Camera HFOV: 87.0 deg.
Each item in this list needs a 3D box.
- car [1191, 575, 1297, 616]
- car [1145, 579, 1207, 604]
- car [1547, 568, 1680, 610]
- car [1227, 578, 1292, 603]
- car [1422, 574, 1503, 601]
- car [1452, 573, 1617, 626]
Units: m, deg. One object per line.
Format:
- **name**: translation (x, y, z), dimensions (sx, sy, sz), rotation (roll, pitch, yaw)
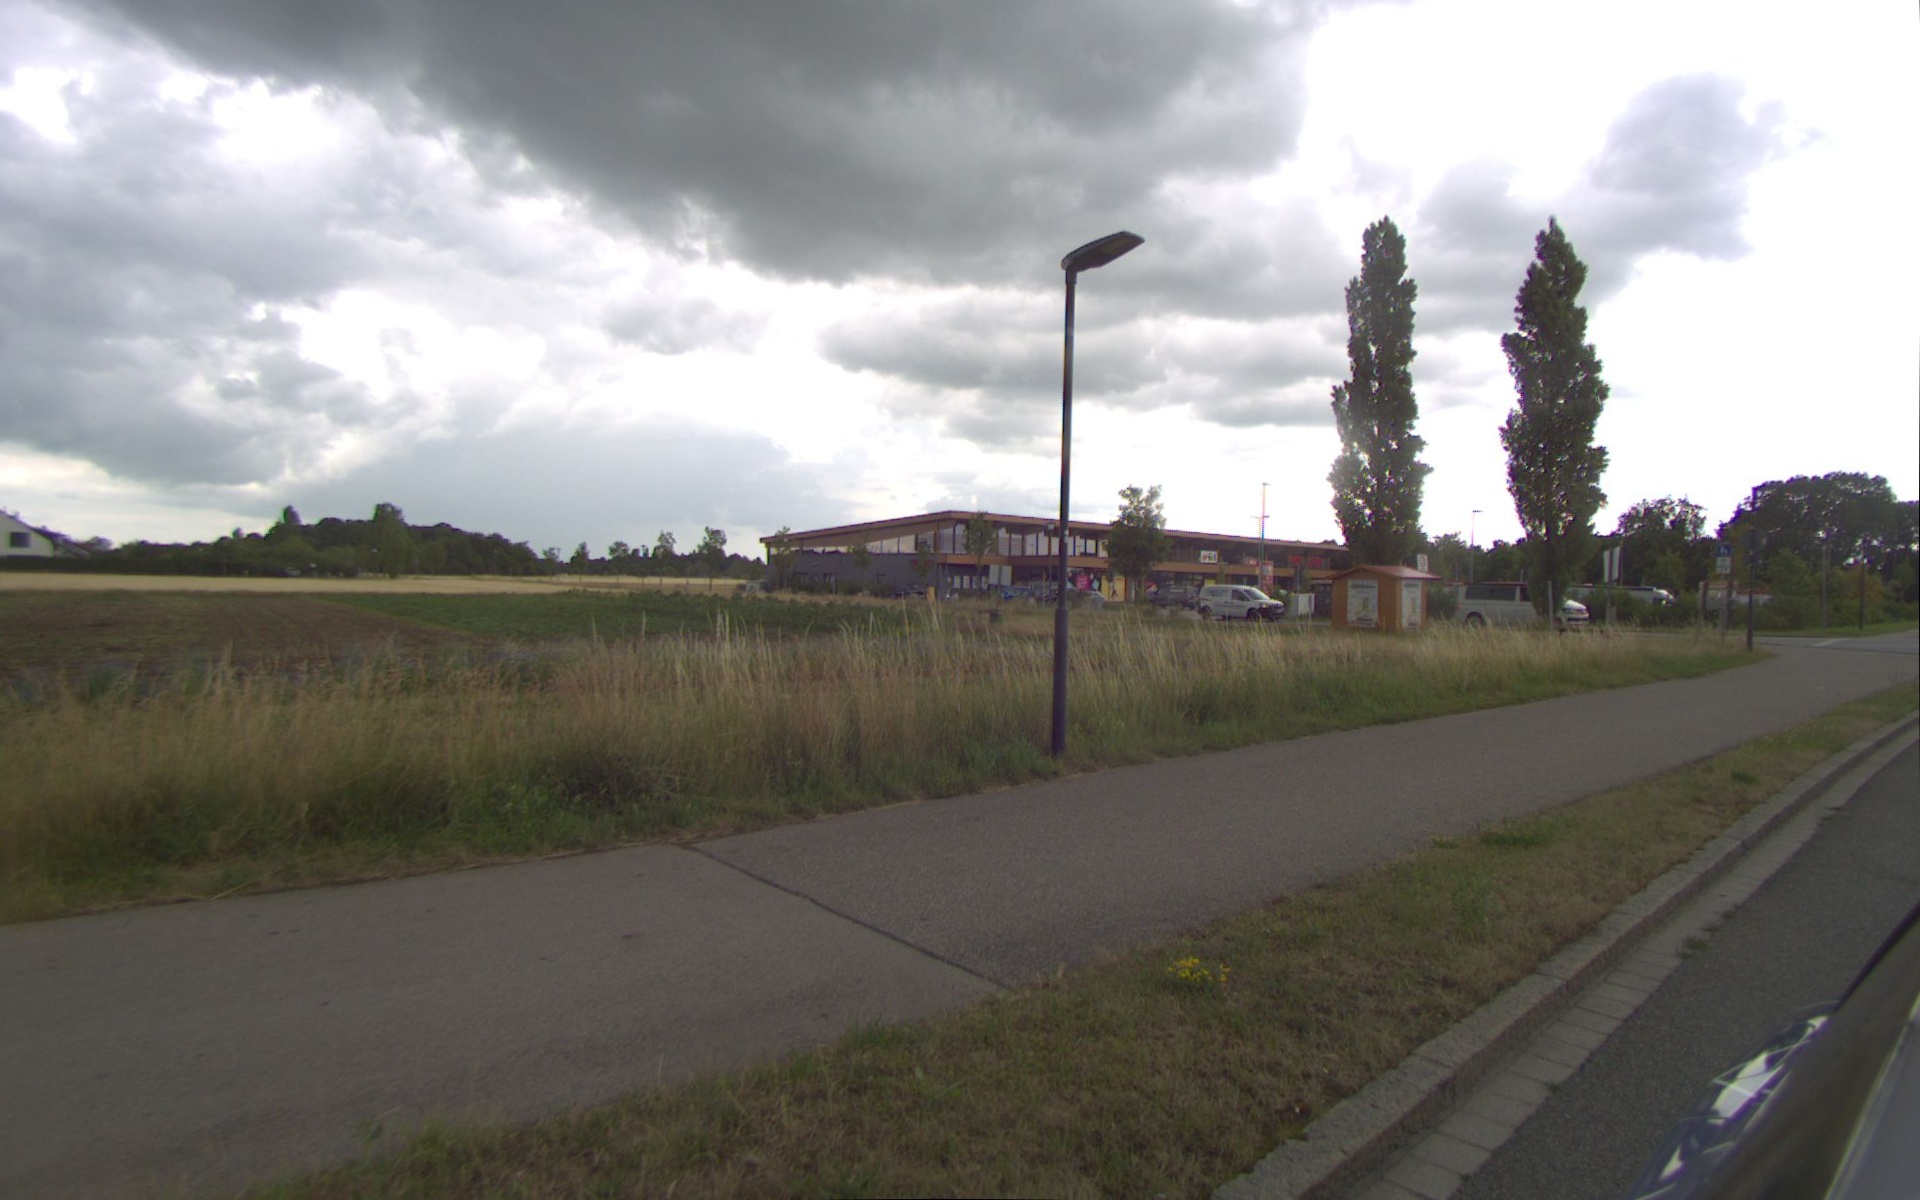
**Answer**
- **car**: translation (14.733, -0.237, 52.826), dimensions (1.962, 2.039, 5.318), rotation (-1, 0, -34)
- **car**: translation (18.443, -0.723, 86.624), dimensions (4.840, 2.039, 1.970), rotation (-1, 0, 43)
- **car**: translation (33.828, -0.529, 52.518), dimensions (5.510, 2.039, 1.969), rotation (-1, 0, 44)
- **car**: translation (24.928, -0.774, 84.409), dimensions (4.840, 2.039, 1.970), rotation (-1, 0, 43)
- **car**: translation (40.358, -0.997, 81.391), dimensions (5.510, 2.039, 1.969), rotation (-1, 0, 44)
- **car**: translation (23.469, -0.026, 41.522), dimensions (2.516, 2.039, 5.311), rotation (-1, 0, -39)
